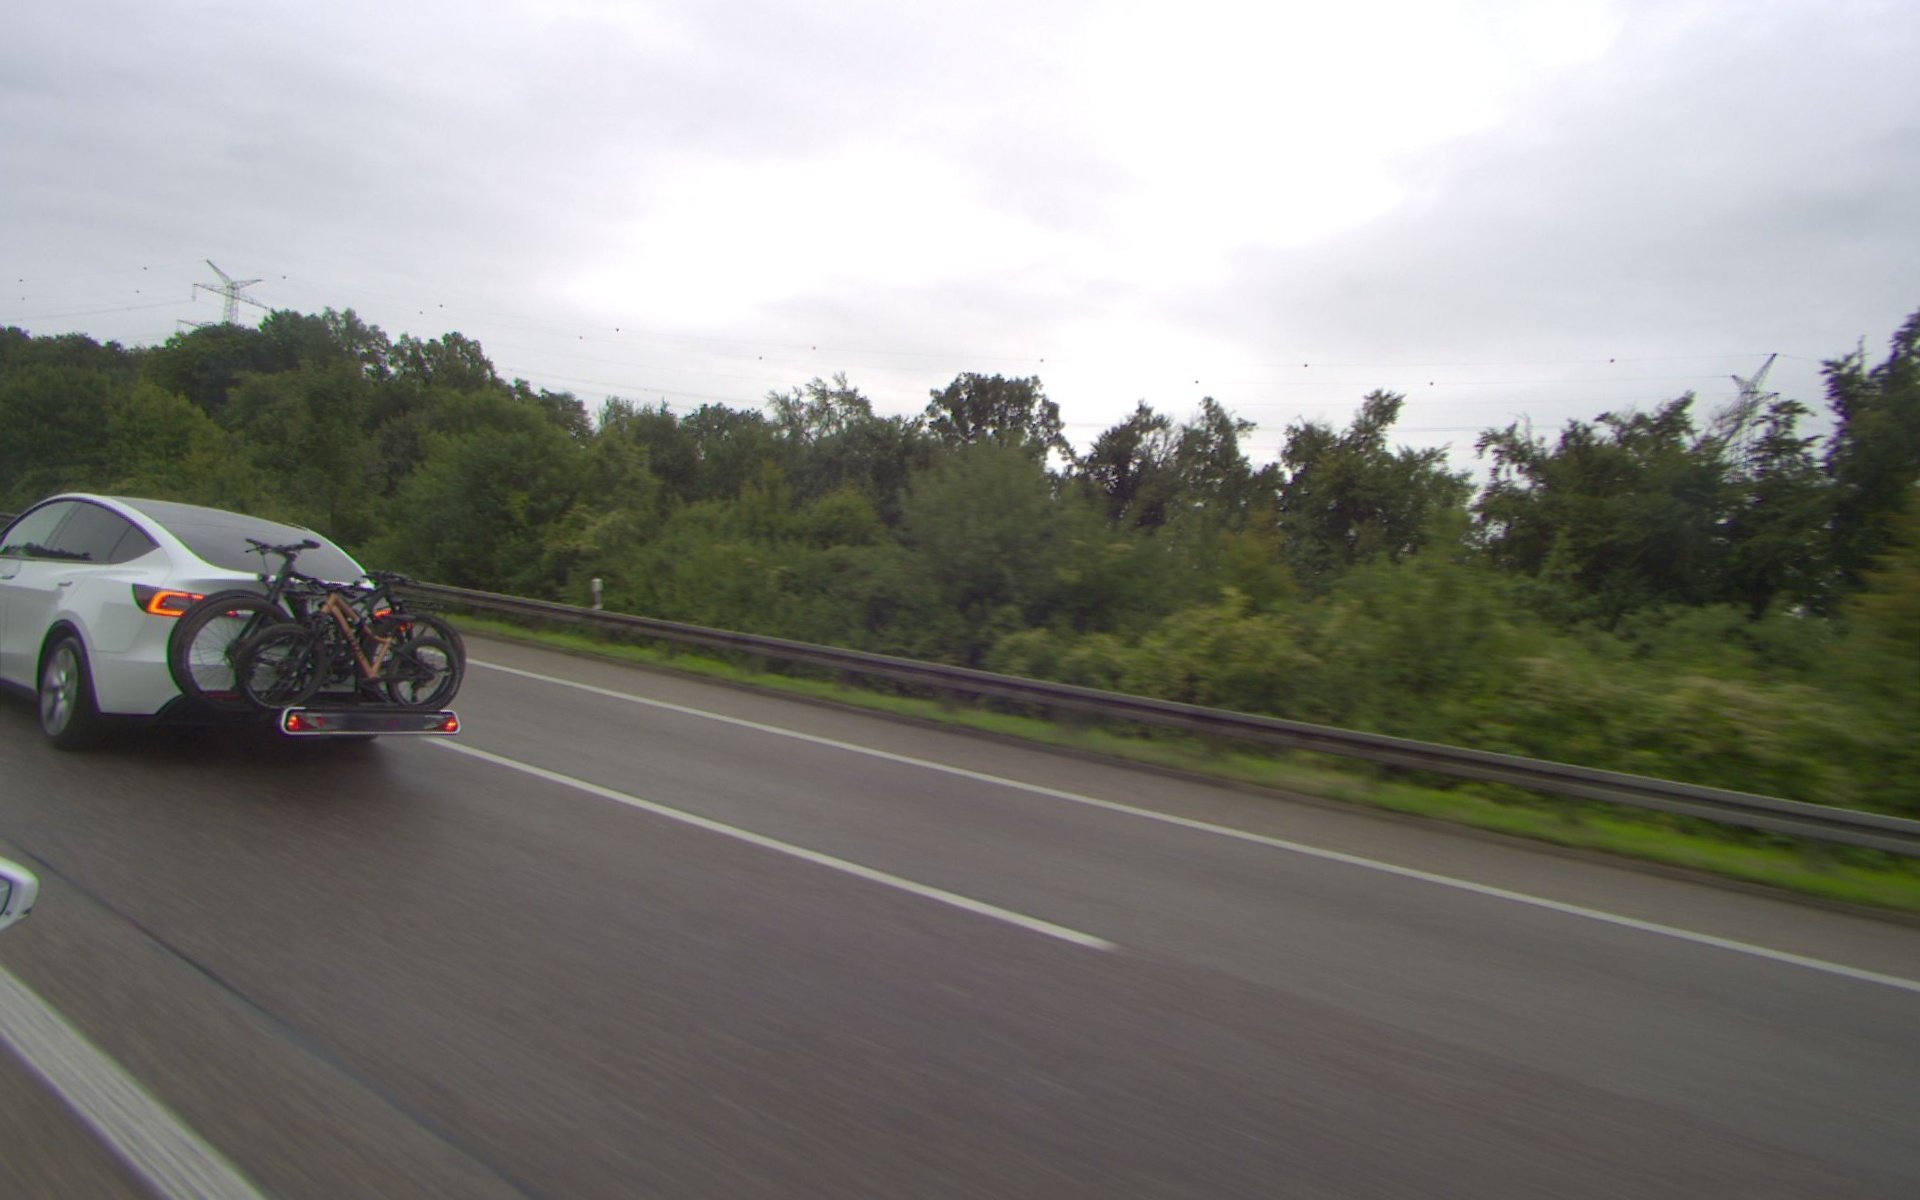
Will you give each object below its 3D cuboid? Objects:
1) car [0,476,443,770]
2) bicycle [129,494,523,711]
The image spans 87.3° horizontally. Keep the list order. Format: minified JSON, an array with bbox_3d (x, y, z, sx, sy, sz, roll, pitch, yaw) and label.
[{"bbox_3d":[-6.335,0.005,7.727,4.882,1.586,1.863,7,-1,32],"label":"car"},{"bbox_3d":[-3.795,0.059,6.182,0.898,1.103,1.756,6,-1,31],"label":"bicycle"}]
